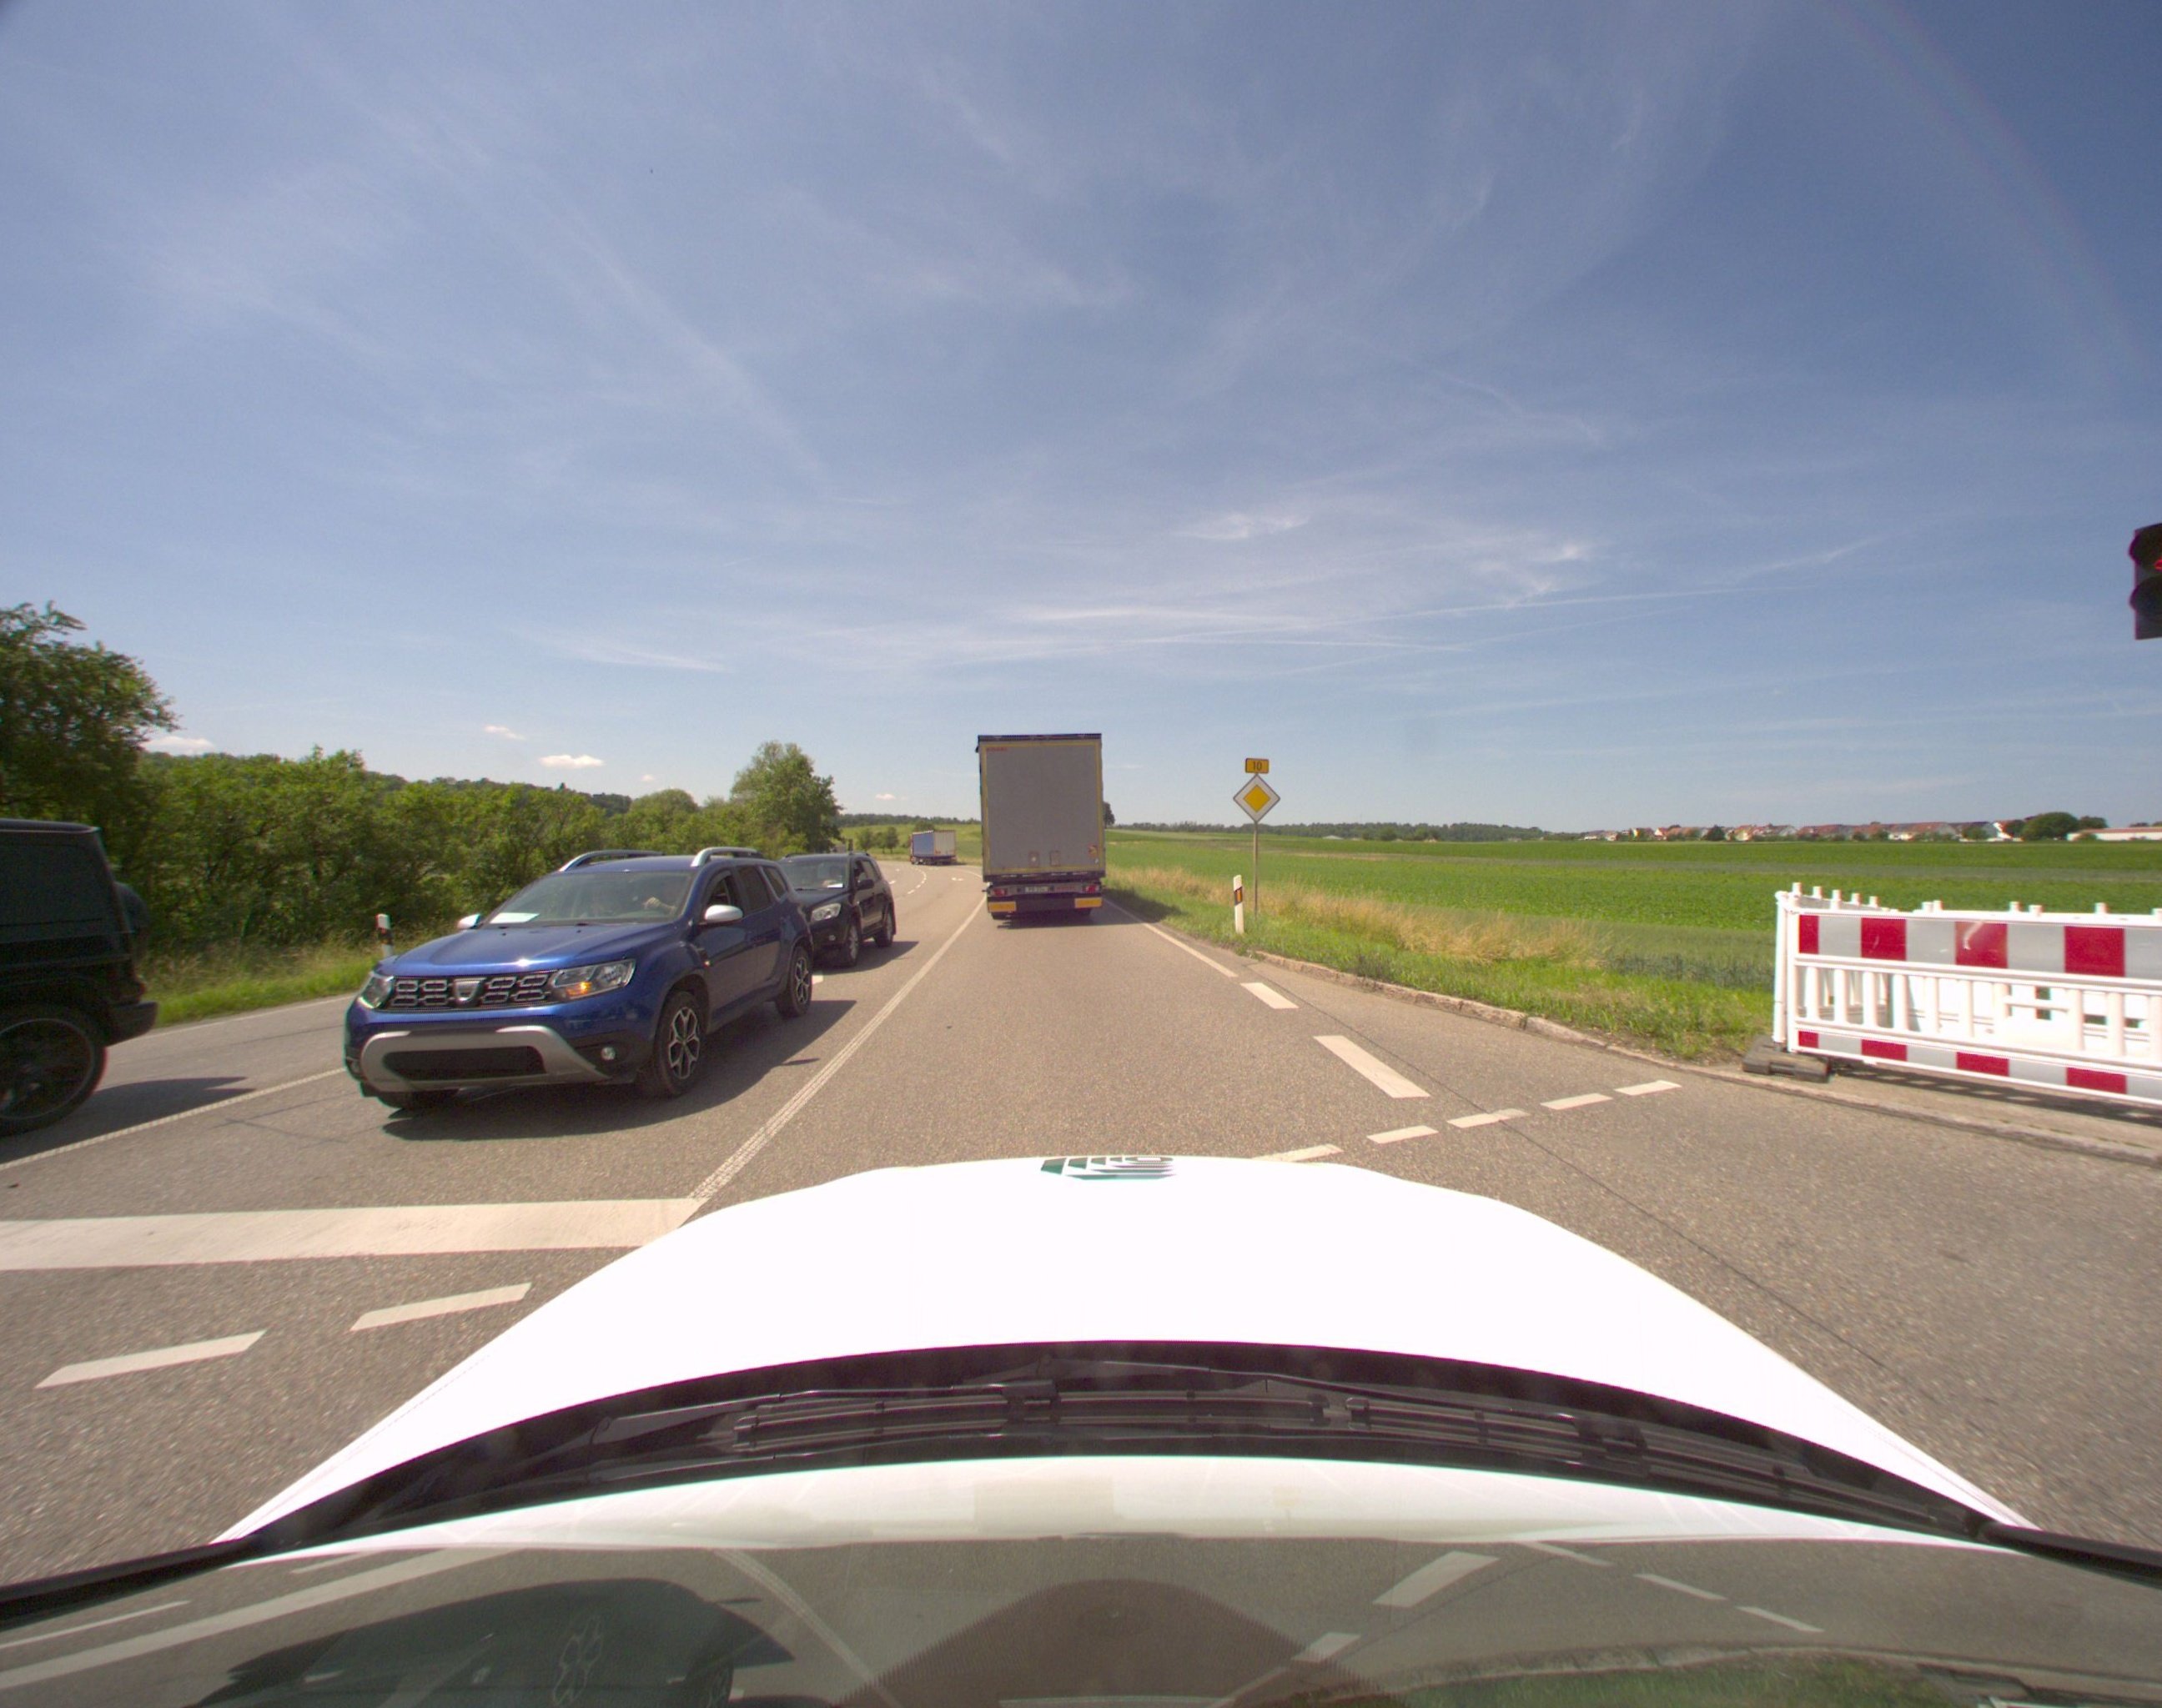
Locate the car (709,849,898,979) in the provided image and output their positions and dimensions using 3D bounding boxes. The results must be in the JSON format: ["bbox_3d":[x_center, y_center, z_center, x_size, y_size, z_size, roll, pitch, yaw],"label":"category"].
[{"bbox_3d":[-4.110,0.801,12.763,1.767,1.658,3.994,-2,0,-4],"label":"car"}]

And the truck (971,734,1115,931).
[{"bbox_3d":[-1.257,-0.458,21.429,2.805,3.946,9.570,-2,0,-6],"label":"truck"}]

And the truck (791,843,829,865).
[{"bbox_3d":[-56.244,0.015,168.662,3.556,4.241,13.257,1,-2,-36],"label":"truck"}]

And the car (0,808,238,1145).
[{"bbox_3d":[-7.444,0.743,3.621,1.988,2.006,5.163,-1,0,0],"label":"car"}]

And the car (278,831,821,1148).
[{"bbox_3d":[-3.525,0.746,6.444,1.767,1.658,3.996,-2,0,-3],"label":"car"}]

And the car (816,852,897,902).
[{"bbox_3d":[-8.286,0.821,30.460,1.989,1.696,3.996,-2,-1,-2],"label":"car"}]

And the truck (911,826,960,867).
[{"bbox_3d":[-17.996,-0.940,99.388,2.972,4.583,16.203,-1,1,-21],"label":"truck"}]

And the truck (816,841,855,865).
[{"bbox_3d":[-47.015,-0.121,155.563,3.663,4.129,12.960,1,-2,-33],"label":"truck"}]
